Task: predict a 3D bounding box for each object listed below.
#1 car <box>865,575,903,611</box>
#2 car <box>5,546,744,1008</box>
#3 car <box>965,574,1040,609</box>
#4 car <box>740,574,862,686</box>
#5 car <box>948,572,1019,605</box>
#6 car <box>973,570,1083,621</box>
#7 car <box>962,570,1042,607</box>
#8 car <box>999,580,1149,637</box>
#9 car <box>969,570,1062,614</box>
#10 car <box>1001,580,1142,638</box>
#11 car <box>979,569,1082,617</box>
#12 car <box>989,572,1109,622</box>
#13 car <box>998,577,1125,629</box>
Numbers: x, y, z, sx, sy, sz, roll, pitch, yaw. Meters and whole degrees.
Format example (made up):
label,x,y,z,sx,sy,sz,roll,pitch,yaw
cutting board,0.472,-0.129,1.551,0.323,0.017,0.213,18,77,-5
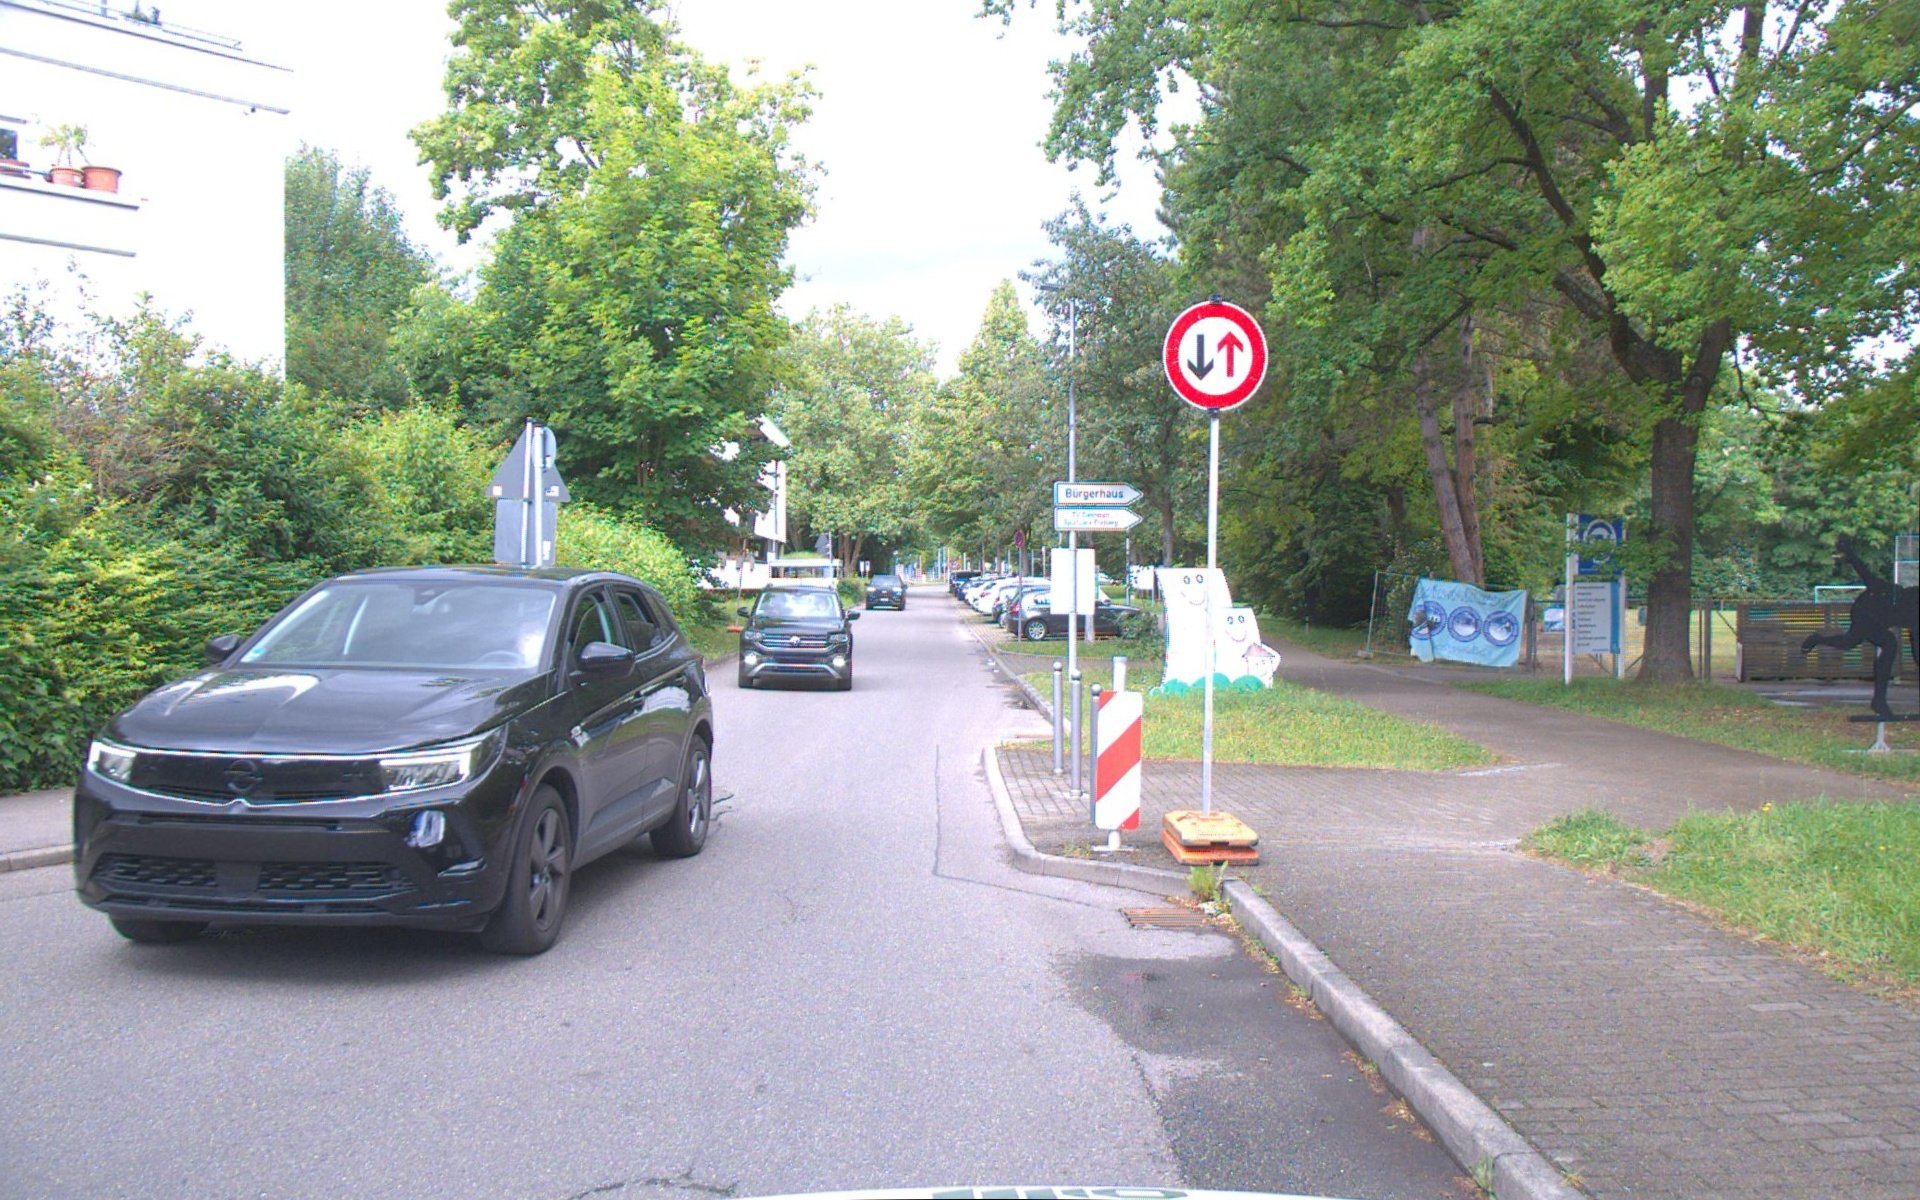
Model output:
label,x,y,z,sx,sy,sz,roll,pitch,yaw
car,-3.907,-0.373,85.525,1.929,1.778,4.337,0,0,-2
car,-2.385,0.604,8.043,1.765,1.619,4.299,0,0,5
car,2.383,-0.506,93.669,3.984,1.716,1.821,-4,1,-5
car,-2.494,0.421,26.228,1.768,1.619,4.292,0,0,-5
car,1.369,-0.677,98.688,3.984,1.716,1.821,-4,1,-5
car,2.614,-0.177,64.217,3.984,1.716,1.821,-4,1,-5
car,2.228,-0.619,87.775,3.984,1.716,1.821,-4,1,-5
car,3.164,0.255,46.483,3.981,1.459,1.999,-1,-1,-2
car,2.485,-0.368,74.685,3.984,1.716,1.821,-4,1,-5
car,3.277,0.266,48.964,3.981,1.596,1.821,-1,-1,-2
car,2.881,-0.284,68.140,3.984,1.716,1.821,-4,1,-5
car,3.147,-0.124,58.920,3.984,1.514,1.821,-4,1,-5
car,3.306,0.090,54.291,3.981,1.595,1.822,-1,1,-2
